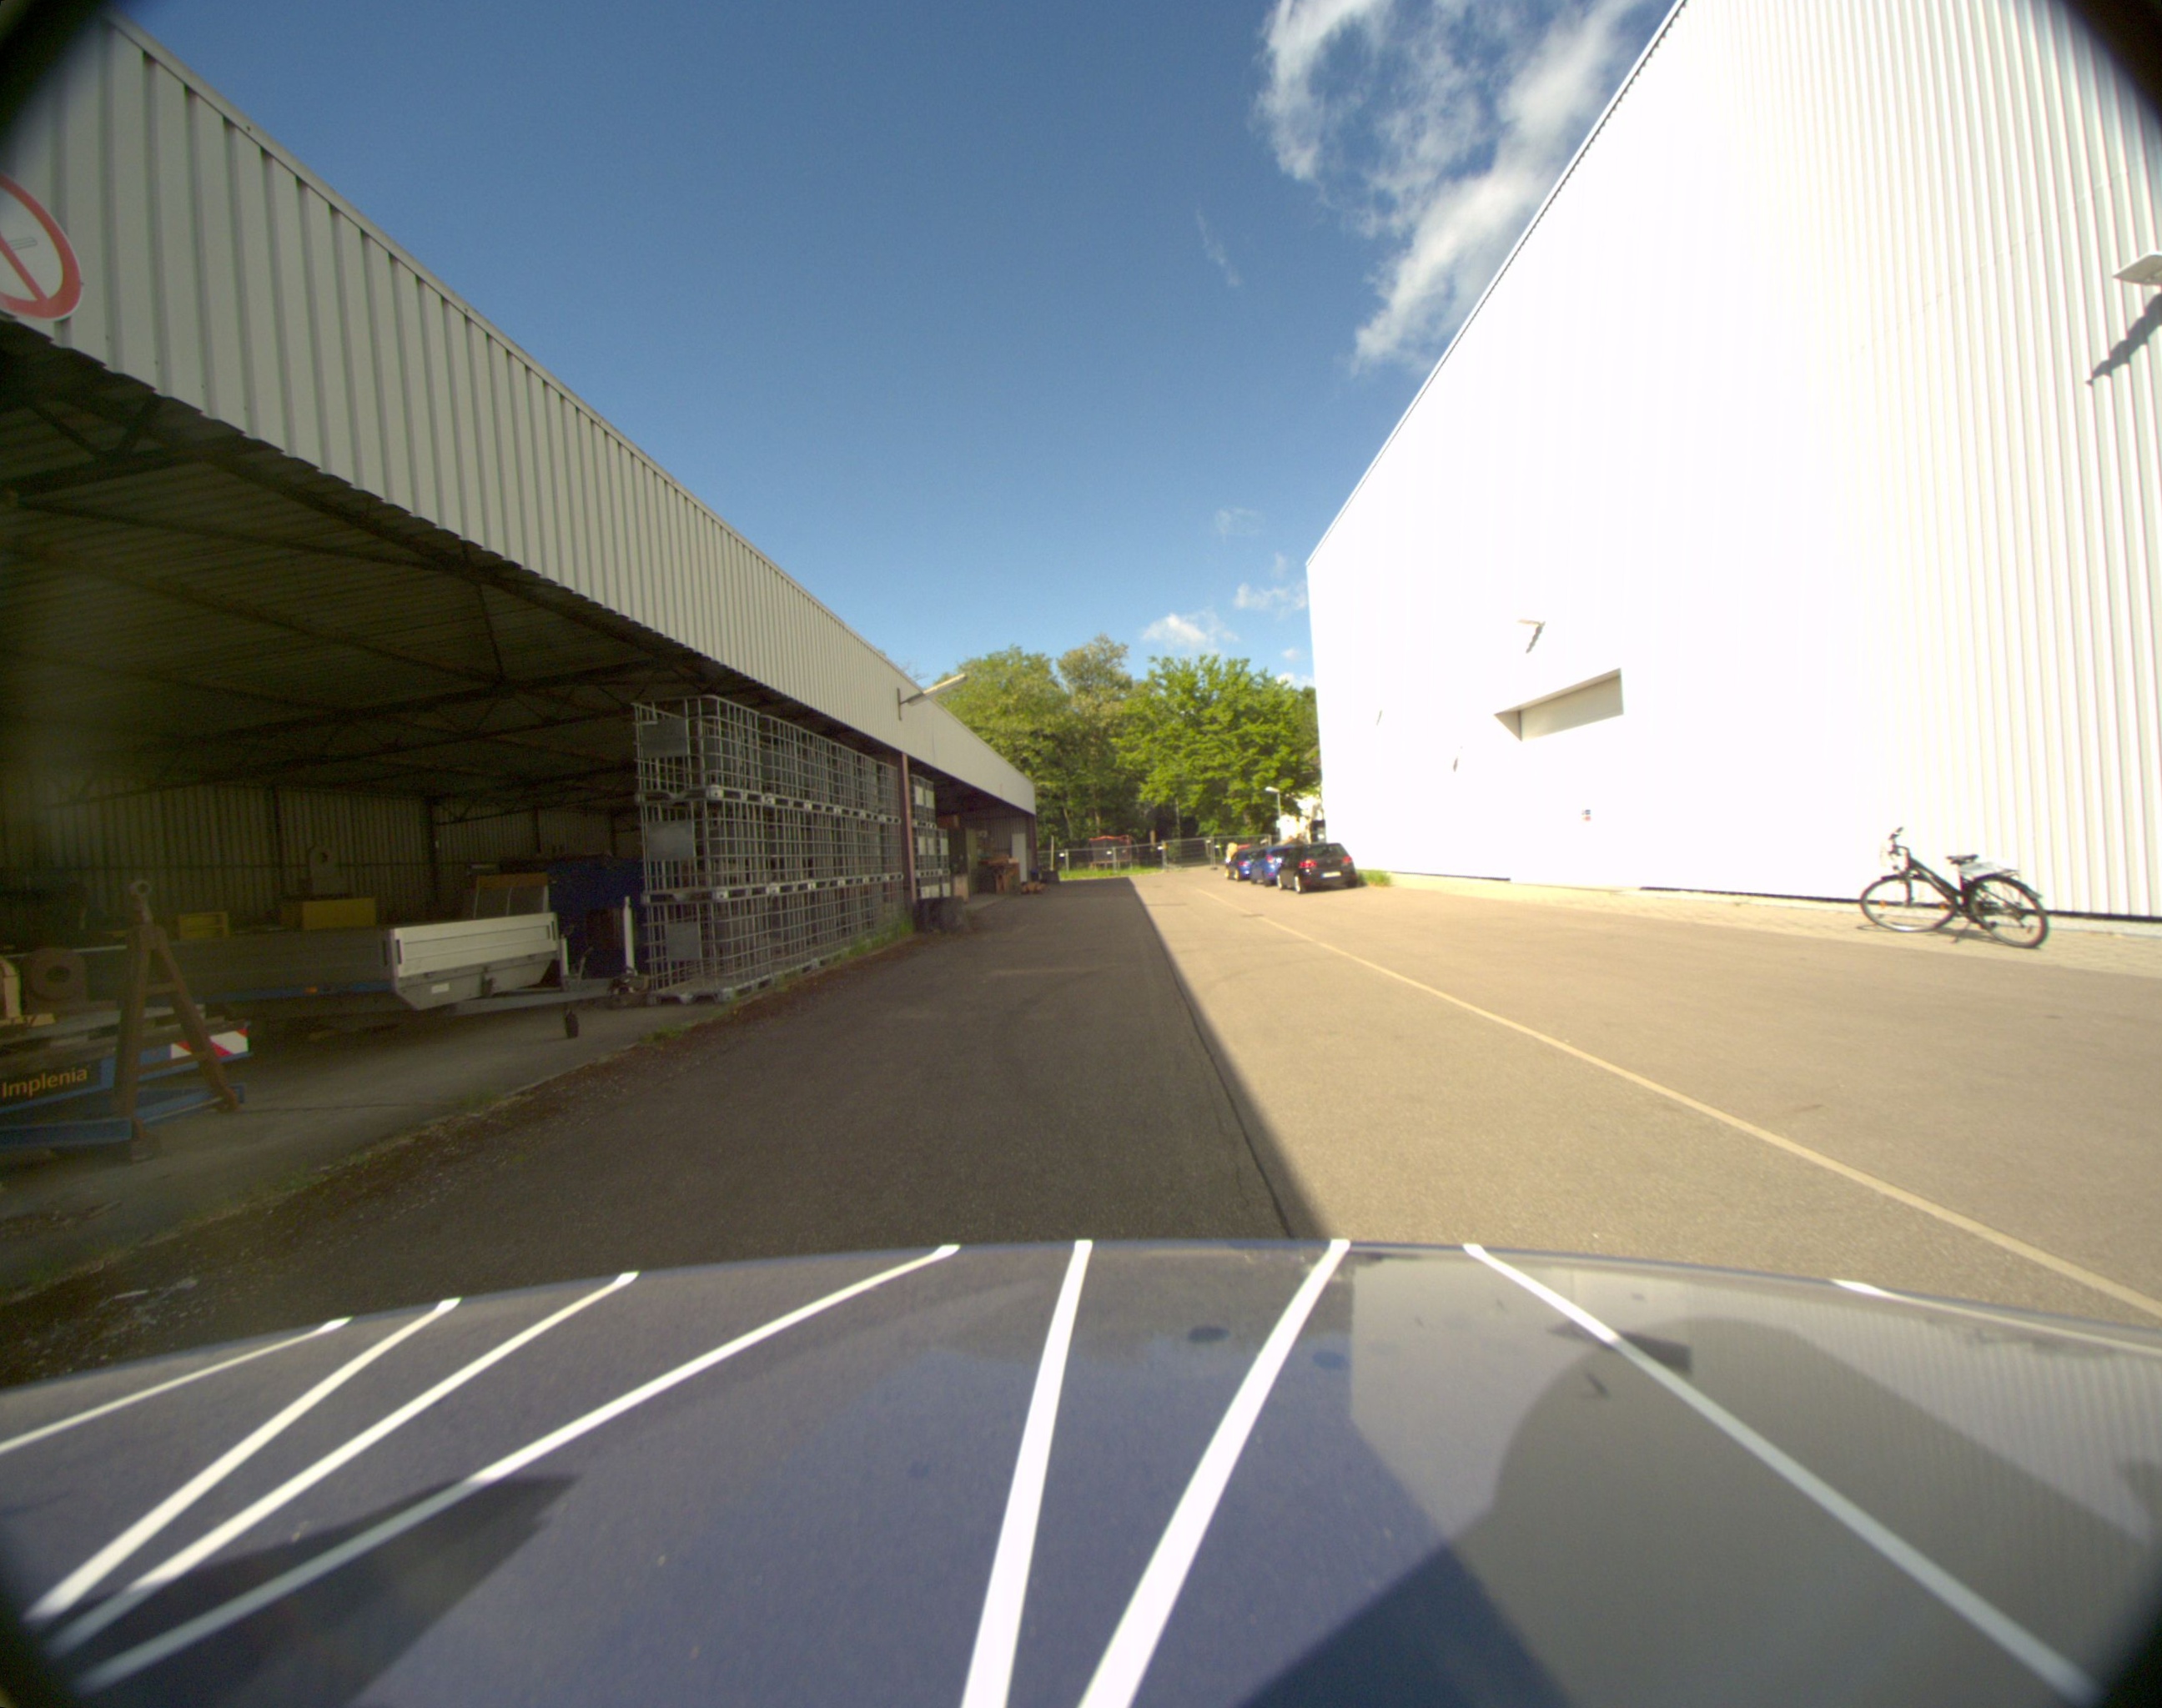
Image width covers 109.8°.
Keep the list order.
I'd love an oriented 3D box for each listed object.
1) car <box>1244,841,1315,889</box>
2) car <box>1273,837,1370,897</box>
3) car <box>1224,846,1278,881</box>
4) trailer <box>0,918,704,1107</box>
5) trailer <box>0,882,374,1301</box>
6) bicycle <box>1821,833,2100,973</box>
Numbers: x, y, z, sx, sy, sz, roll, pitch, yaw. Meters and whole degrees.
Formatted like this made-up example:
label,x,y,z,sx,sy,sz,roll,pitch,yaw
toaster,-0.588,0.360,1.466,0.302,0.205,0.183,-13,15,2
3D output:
label,x,y,z,sx,sy,sz,roll,pitch,yaw
car,7.468,0.369,28.906,1.789,1.513,4.001,-7,0,5
car,7.355,0.365,23.654,1.895,1.513,4.001,-7,0,4
car,7.618,0.387,34.407,1.789,1.431,4.001,-3,0,4
trailer,-6.917,1.372,7.014,5.836,1.113,2.029,-3,0,2
trailer,-6.802,1.109,3.654,4.879,1.619,2.029,-3,0,2
bicycle,8.670,0.422,7.657,0.909,1.136,1.901,-7,0,18
